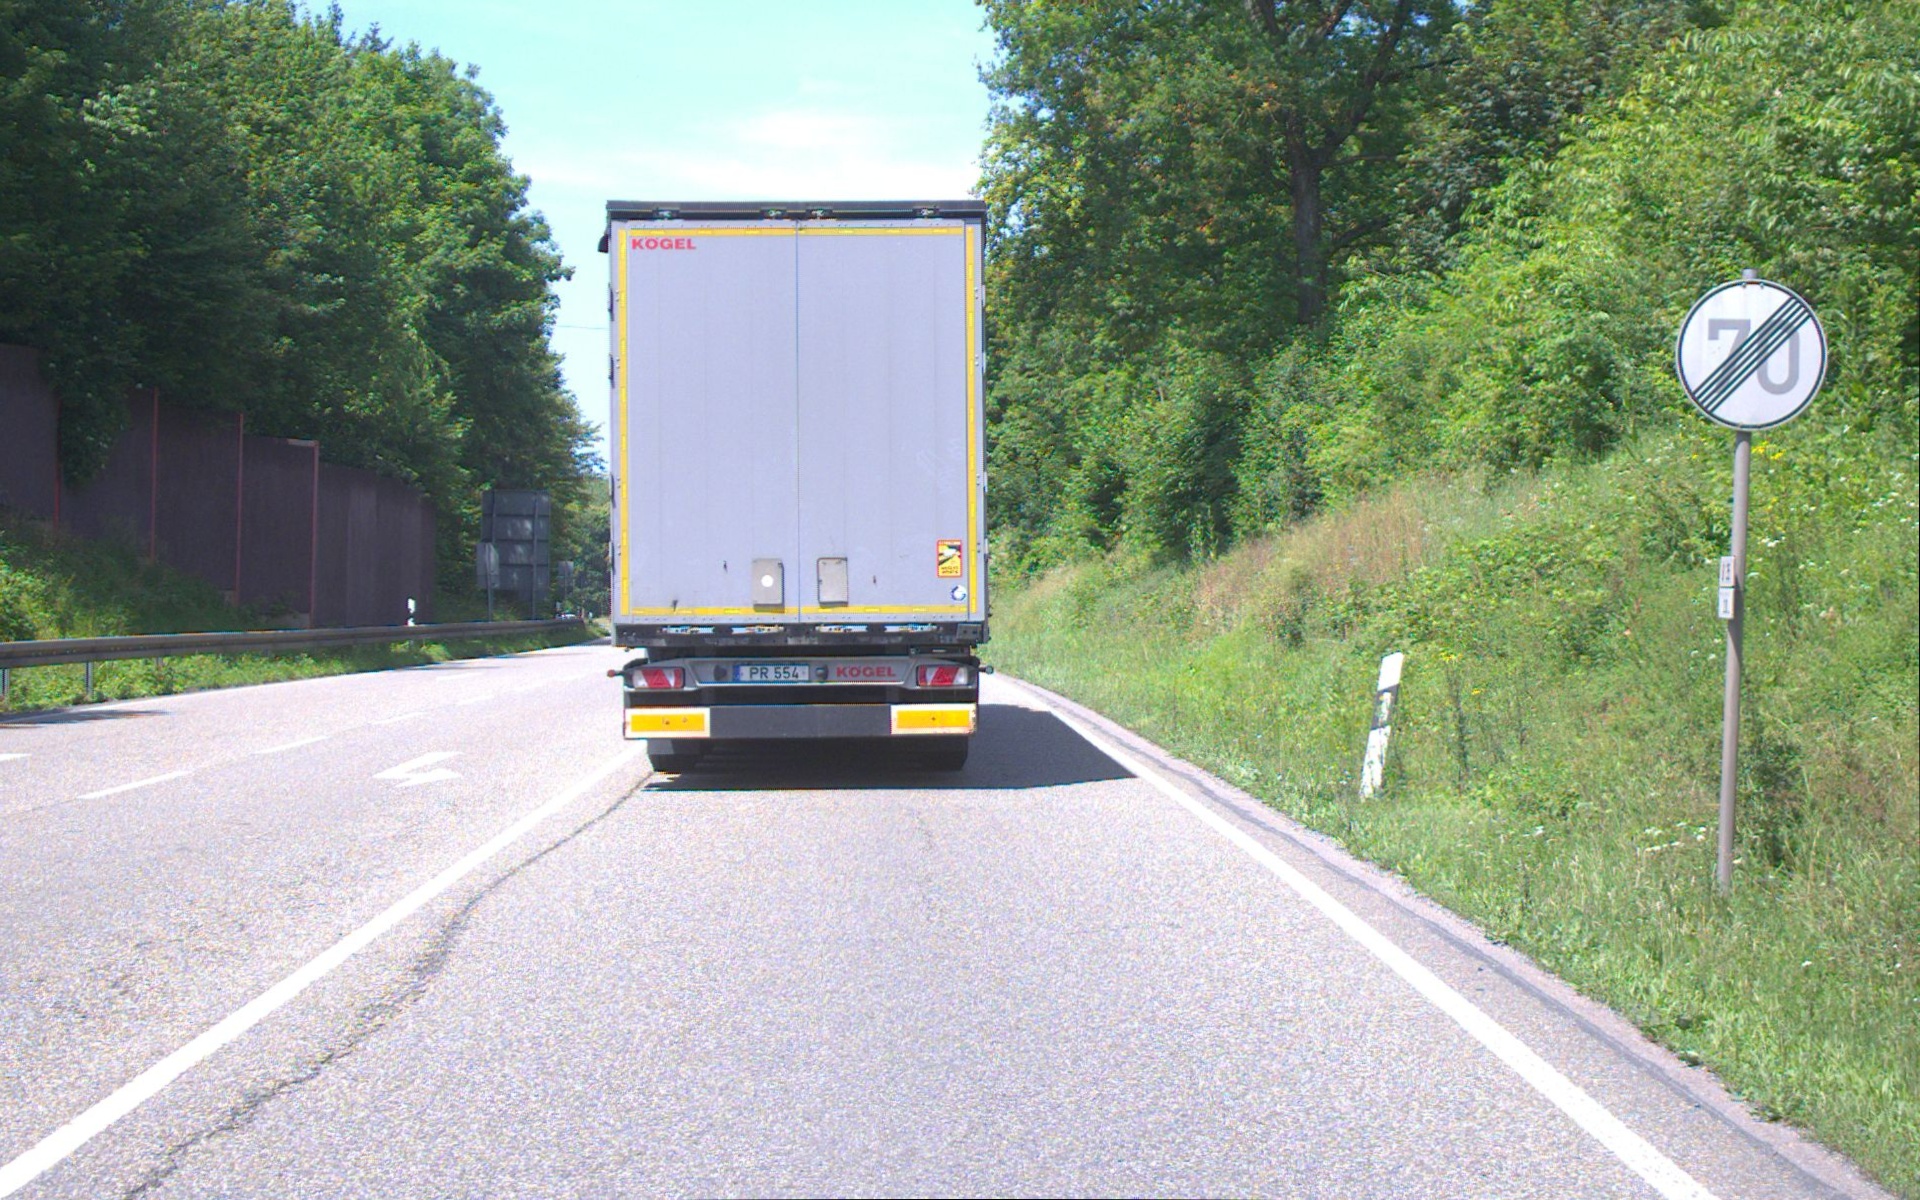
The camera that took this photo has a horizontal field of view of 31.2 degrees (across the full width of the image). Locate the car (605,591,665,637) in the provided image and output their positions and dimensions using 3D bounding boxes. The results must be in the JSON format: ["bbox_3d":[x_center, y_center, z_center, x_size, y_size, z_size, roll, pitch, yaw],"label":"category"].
[{"bbox_3d":[-10.504,0.444,110.962,1.805,1.430,3.872,-1,1,-7],"label":"car"}]

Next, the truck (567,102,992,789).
[{"bbox_3d":[-1.263,-1.101,26.340,2.822,4.588,6.666,0,1,-1],"label":"truck"}]
